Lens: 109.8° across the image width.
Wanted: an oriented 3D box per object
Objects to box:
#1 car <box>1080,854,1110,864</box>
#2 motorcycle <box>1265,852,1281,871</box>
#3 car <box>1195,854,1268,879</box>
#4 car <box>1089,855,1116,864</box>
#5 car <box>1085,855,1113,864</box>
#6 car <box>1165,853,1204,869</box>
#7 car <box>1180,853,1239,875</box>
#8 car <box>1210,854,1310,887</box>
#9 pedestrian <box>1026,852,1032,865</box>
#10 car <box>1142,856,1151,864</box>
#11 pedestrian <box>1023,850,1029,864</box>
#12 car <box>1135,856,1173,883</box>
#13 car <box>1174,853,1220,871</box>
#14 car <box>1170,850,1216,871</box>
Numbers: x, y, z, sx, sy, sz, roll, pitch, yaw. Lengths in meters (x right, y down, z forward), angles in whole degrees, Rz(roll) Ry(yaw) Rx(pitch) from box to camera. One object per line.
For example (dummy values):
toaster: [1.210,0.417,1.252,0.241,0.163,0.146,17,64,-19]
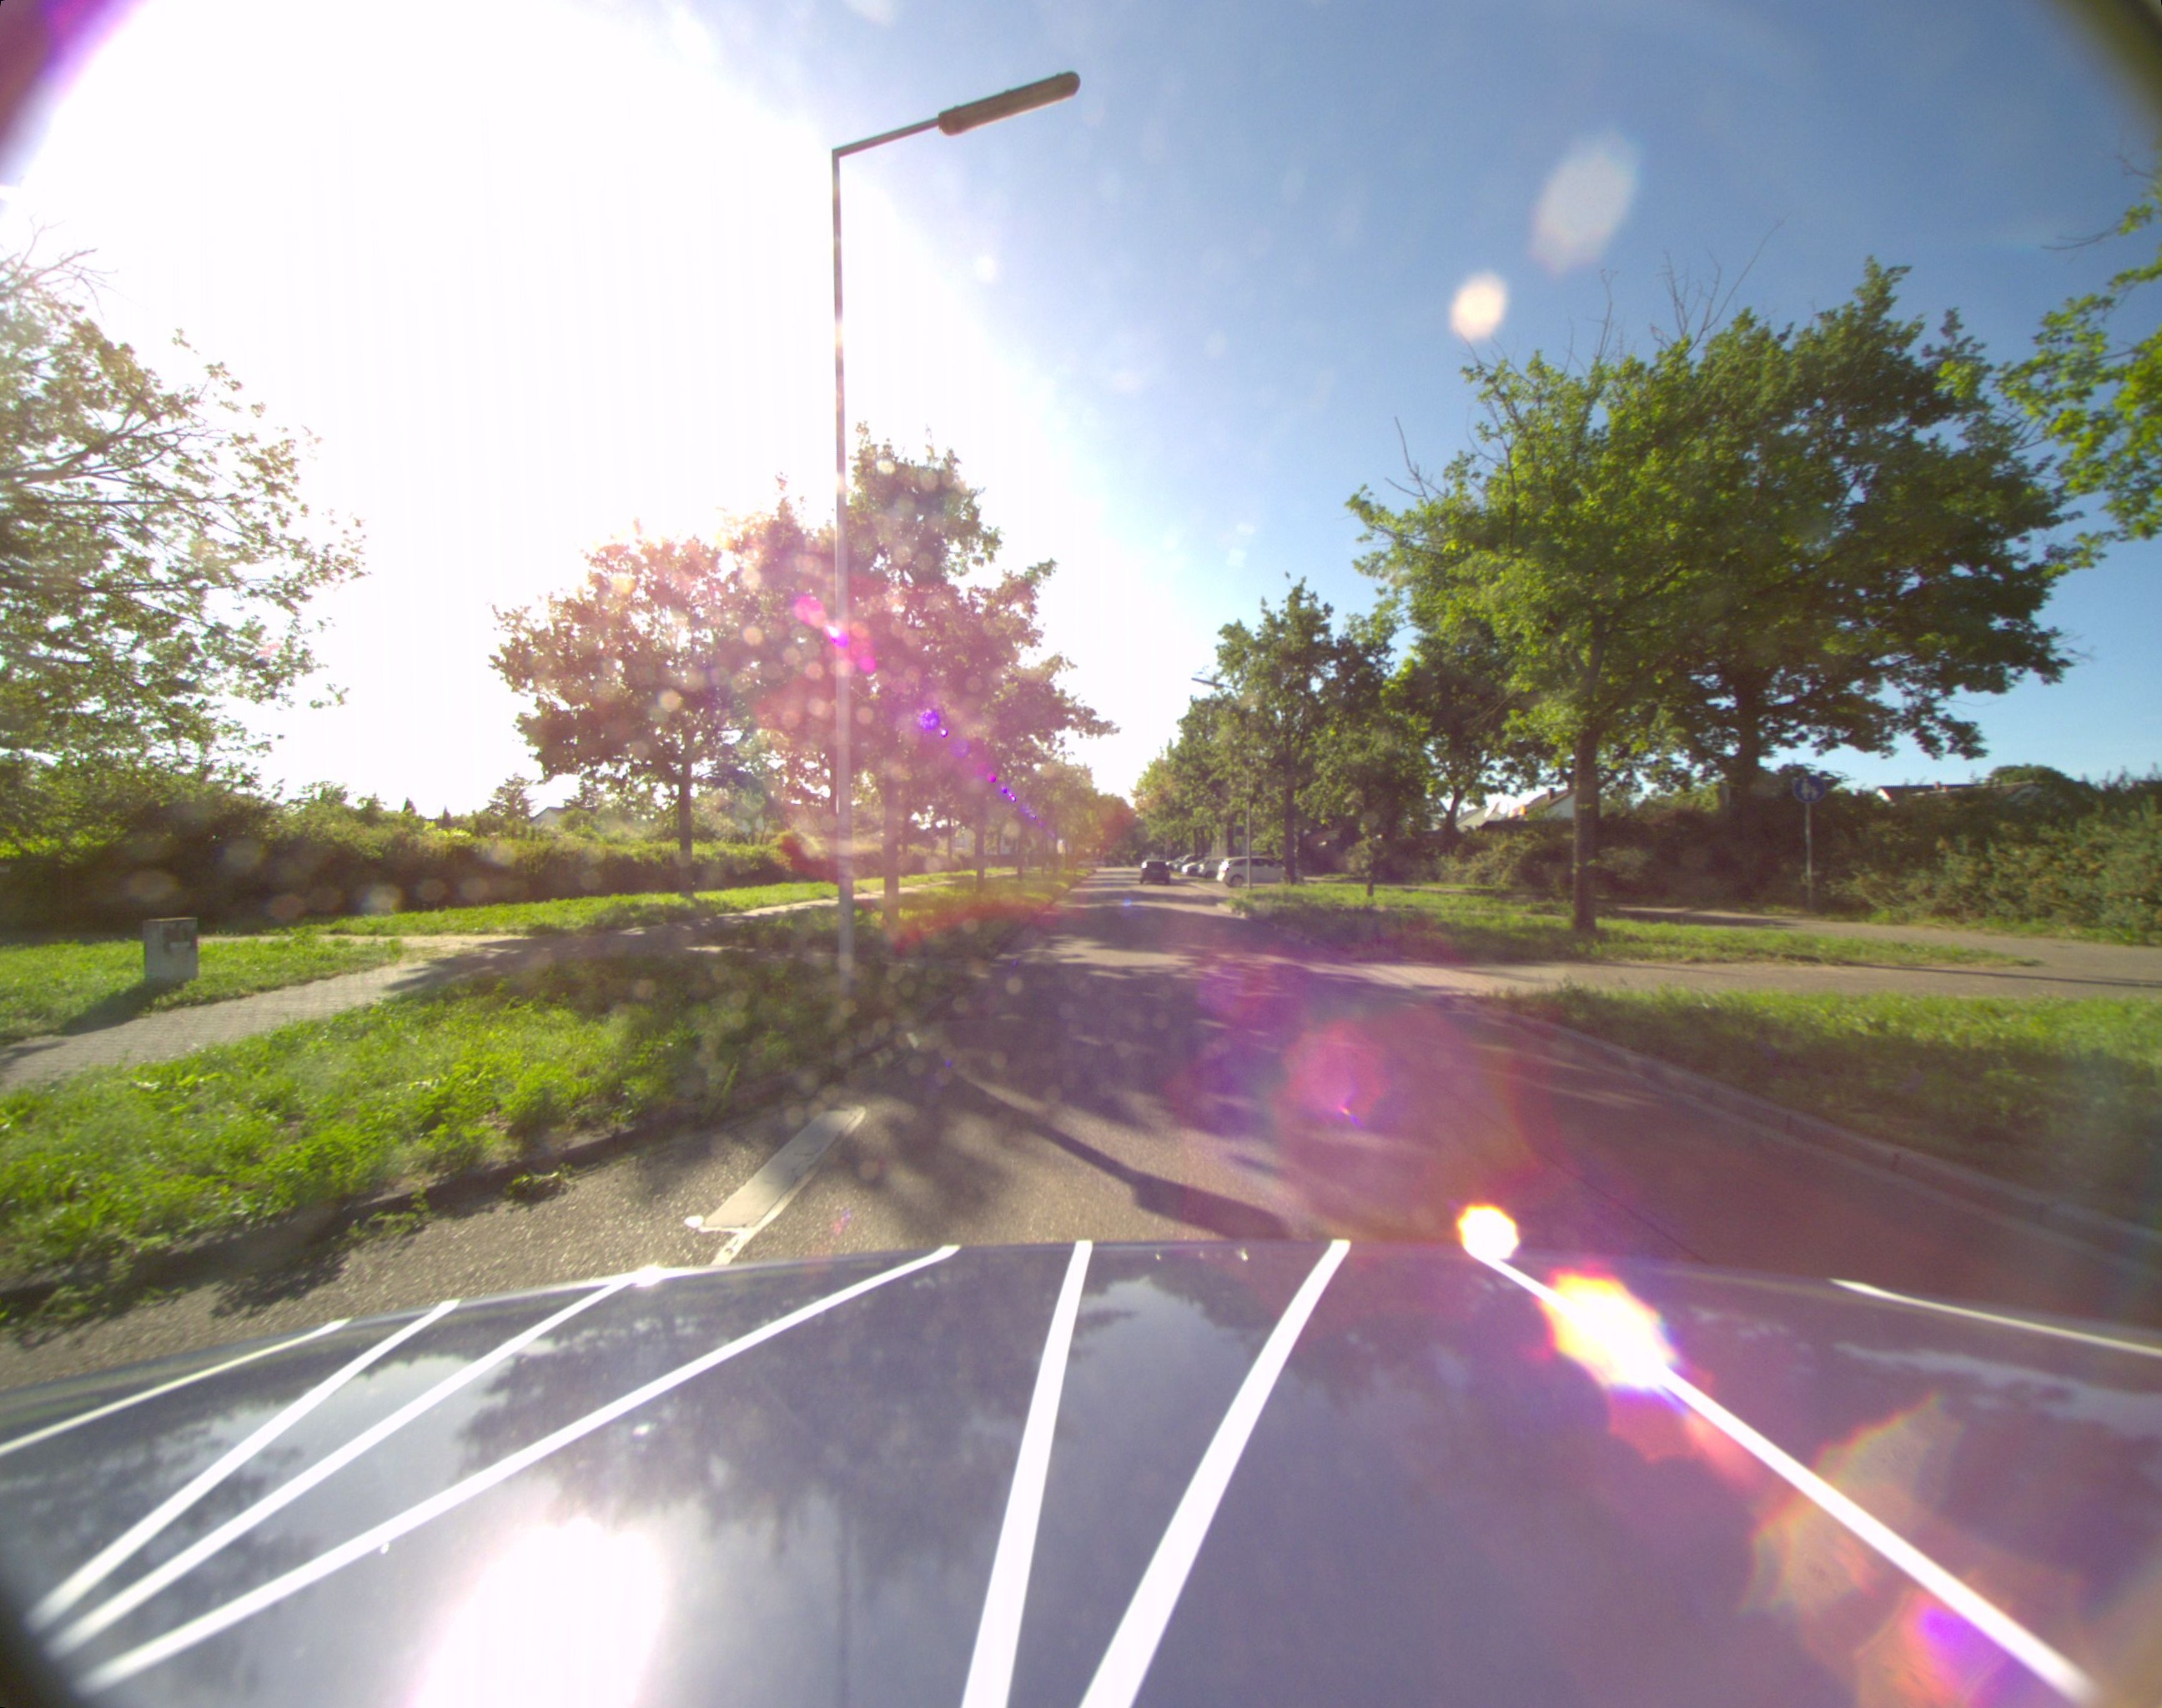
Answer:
car: [2.127,0.749,117.237,4.510,1.470,1.942,0,0,4]
motorcycle: [15.225,0.592,60.296,0.739,1.424,1.991,-4,0,3]
car: [9.947,0.825,50.470,4.423,1.502,2.088,-2,0,2]
car: [3.697,0.925,130.876,4.510,1.470,1.942,0,0,4]
car: [3.048,0.839,125.862,4.510,1.470,1.942,0,0,4]
car: [11.076,0.753,81.420,4.072,1.633,1.877,-2,0,5]
car: [10.231,0.801,60.754,4.422,1.547,2.089,-2,0,4]
car: [9.310,0.839,39.786,4.638,1.549,2.191,-2,0,-1]
pedestrian: [-7.348,0.656,107.559,0.868,1.855,0.666,0,0,3]
car: [12.007,1.088,139.478,1.688,1.394,4.428,1,0,4]
pedestrian: [-7.908,0.362,108.719,0.834,2.002,0.611,0,0,0]
car: [4.312,0.900,45.578,1.770,1.519,4.495,1,0,-1]
car: [10.773,0.717,70.800,4.145,1.547,1.866,-2,0,4]
car: [11.177,0.637,76.019,4.237,1.872,1.999,-2,0,2]
